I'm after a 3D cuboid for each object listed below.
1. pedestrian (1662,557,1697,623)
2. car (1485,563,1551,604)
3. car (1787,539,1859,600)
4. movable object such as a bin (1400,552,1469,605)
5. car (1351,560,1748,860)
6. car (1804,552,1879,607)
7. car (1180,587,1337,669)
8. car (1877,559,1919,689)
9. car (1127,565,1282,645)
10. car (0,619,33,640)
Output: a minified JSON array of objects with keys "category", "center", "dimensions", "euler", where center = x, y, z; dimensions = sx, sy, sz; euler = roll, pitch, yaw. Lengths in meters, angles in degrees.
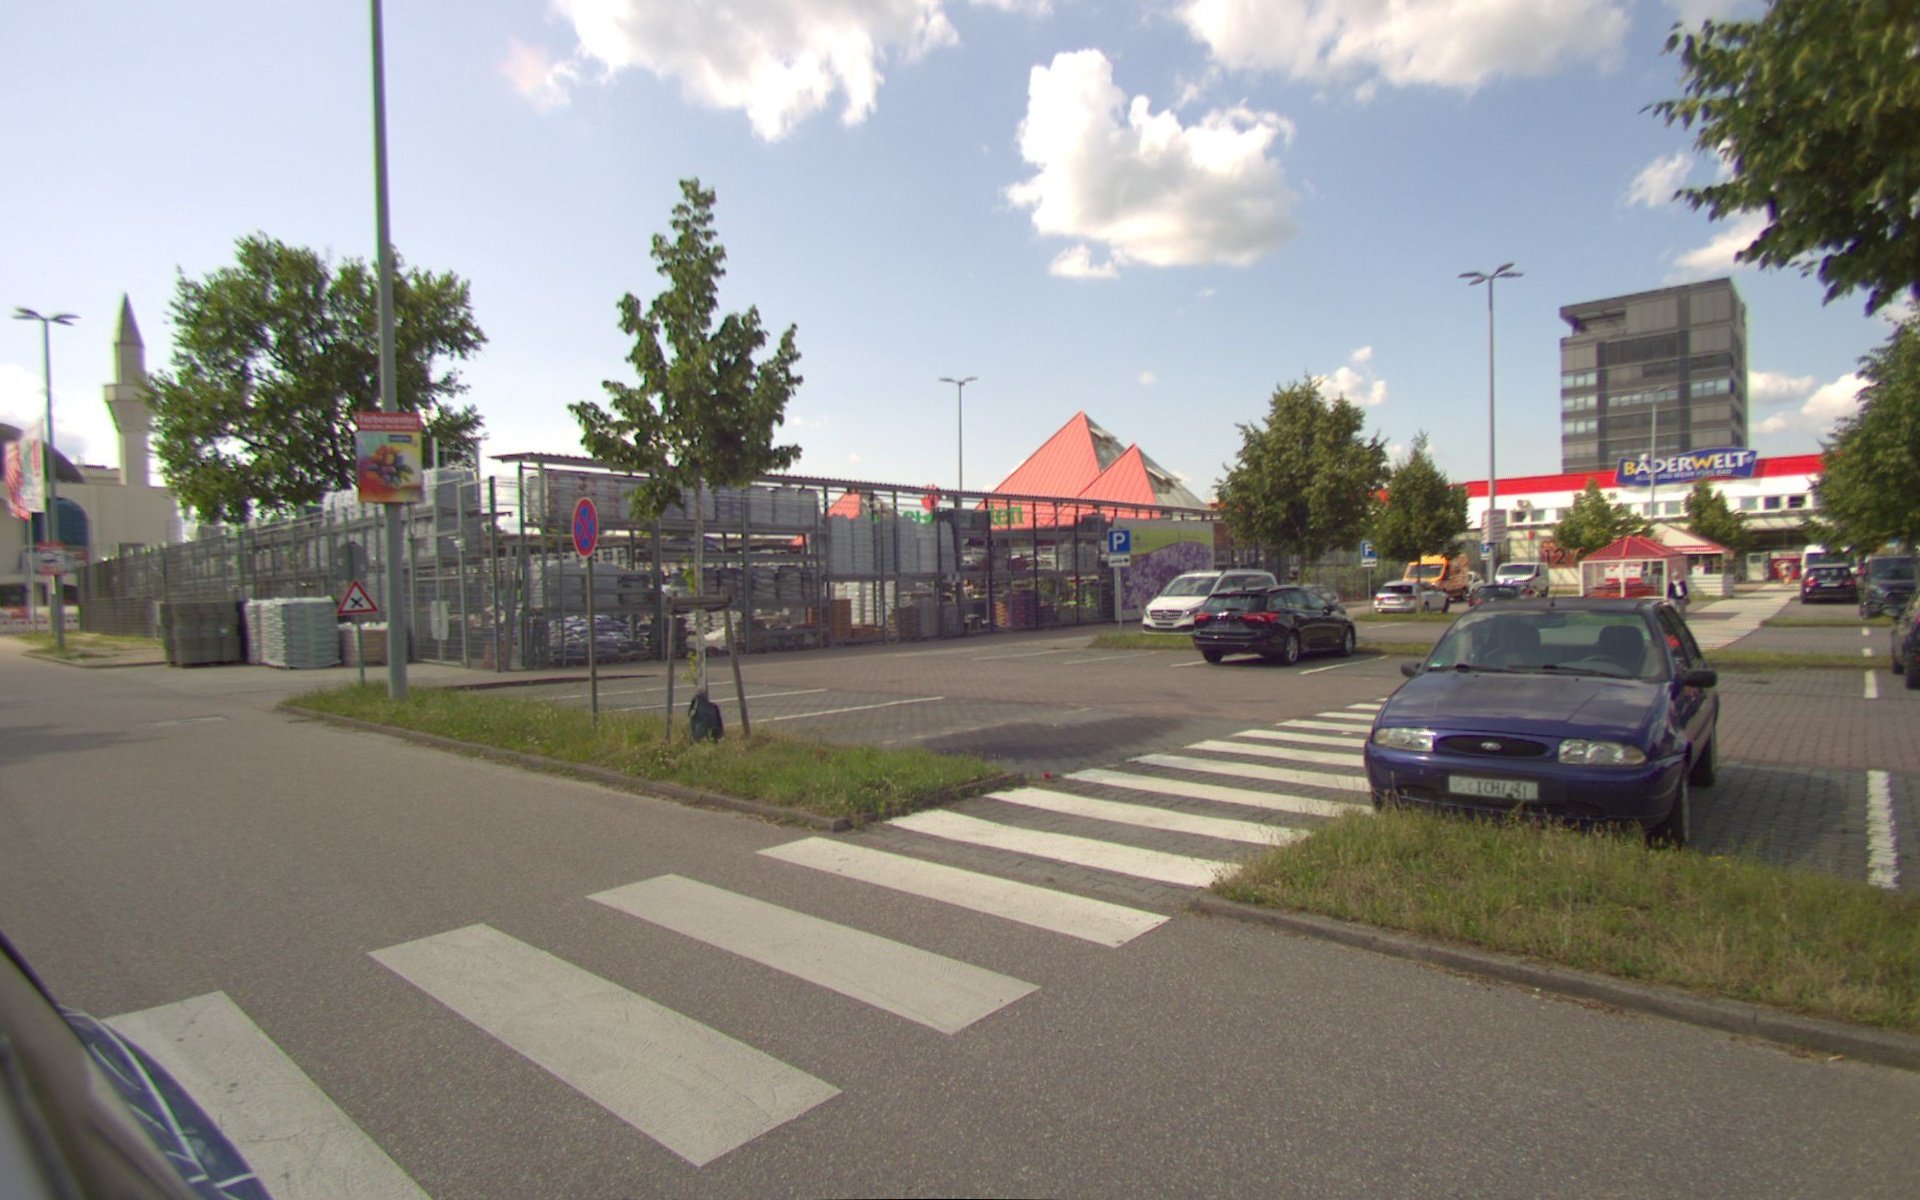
[{"category":"pedestrian","center":[22.796,-0.317,32.058],"dimensions":[0.817,2.029,0.903],"euler":[-1,0,41]},{"category":"car","center":[29.560,-0.892,53.560],"dimensions":[2.000,2.028,4.742],"euler":[3,3,41]},{"category":"car","center":[39.511,-1.355,46.413],"dimensions":[2.235,2.656,4.276],"euler":[0,1,37]},{"category":"movable object such as a bin","center":[24.218,-1.080,51.564],"dimensions":[2.127,2.512,5.271],"euler":[-1,1,37]},{"category":"car","center":[4.025,0.473,6.604],"dimensions":[1.620,1.378,3.713],"euler":[-1,1,40]},{"category":"car","center":[35.119,-0.813,40.277],"dimensions":[2.001,2.029,3.942],"euler":[-1,1,44]},{"category":"car","center":[5.903,0.492,19.807],"dimensions":[1.809,1.415,3.312],"euler":[-1,1,39]},{"category":"car","center":[13.915,0.250,13.746],"dimensions":[1.780,1.636,3.661],"euler":[-1,1,37]},{"category":"car","center":[6.904,0.076,28.182],"dimensions":[2.000,2.029,5.115],"euler":[-1,1,42]},{"category":"car","center":[-67.568,2.104,70.975],"dimensions":[1.652,1.377,3.657],"euler":[-1,0,44]}]
